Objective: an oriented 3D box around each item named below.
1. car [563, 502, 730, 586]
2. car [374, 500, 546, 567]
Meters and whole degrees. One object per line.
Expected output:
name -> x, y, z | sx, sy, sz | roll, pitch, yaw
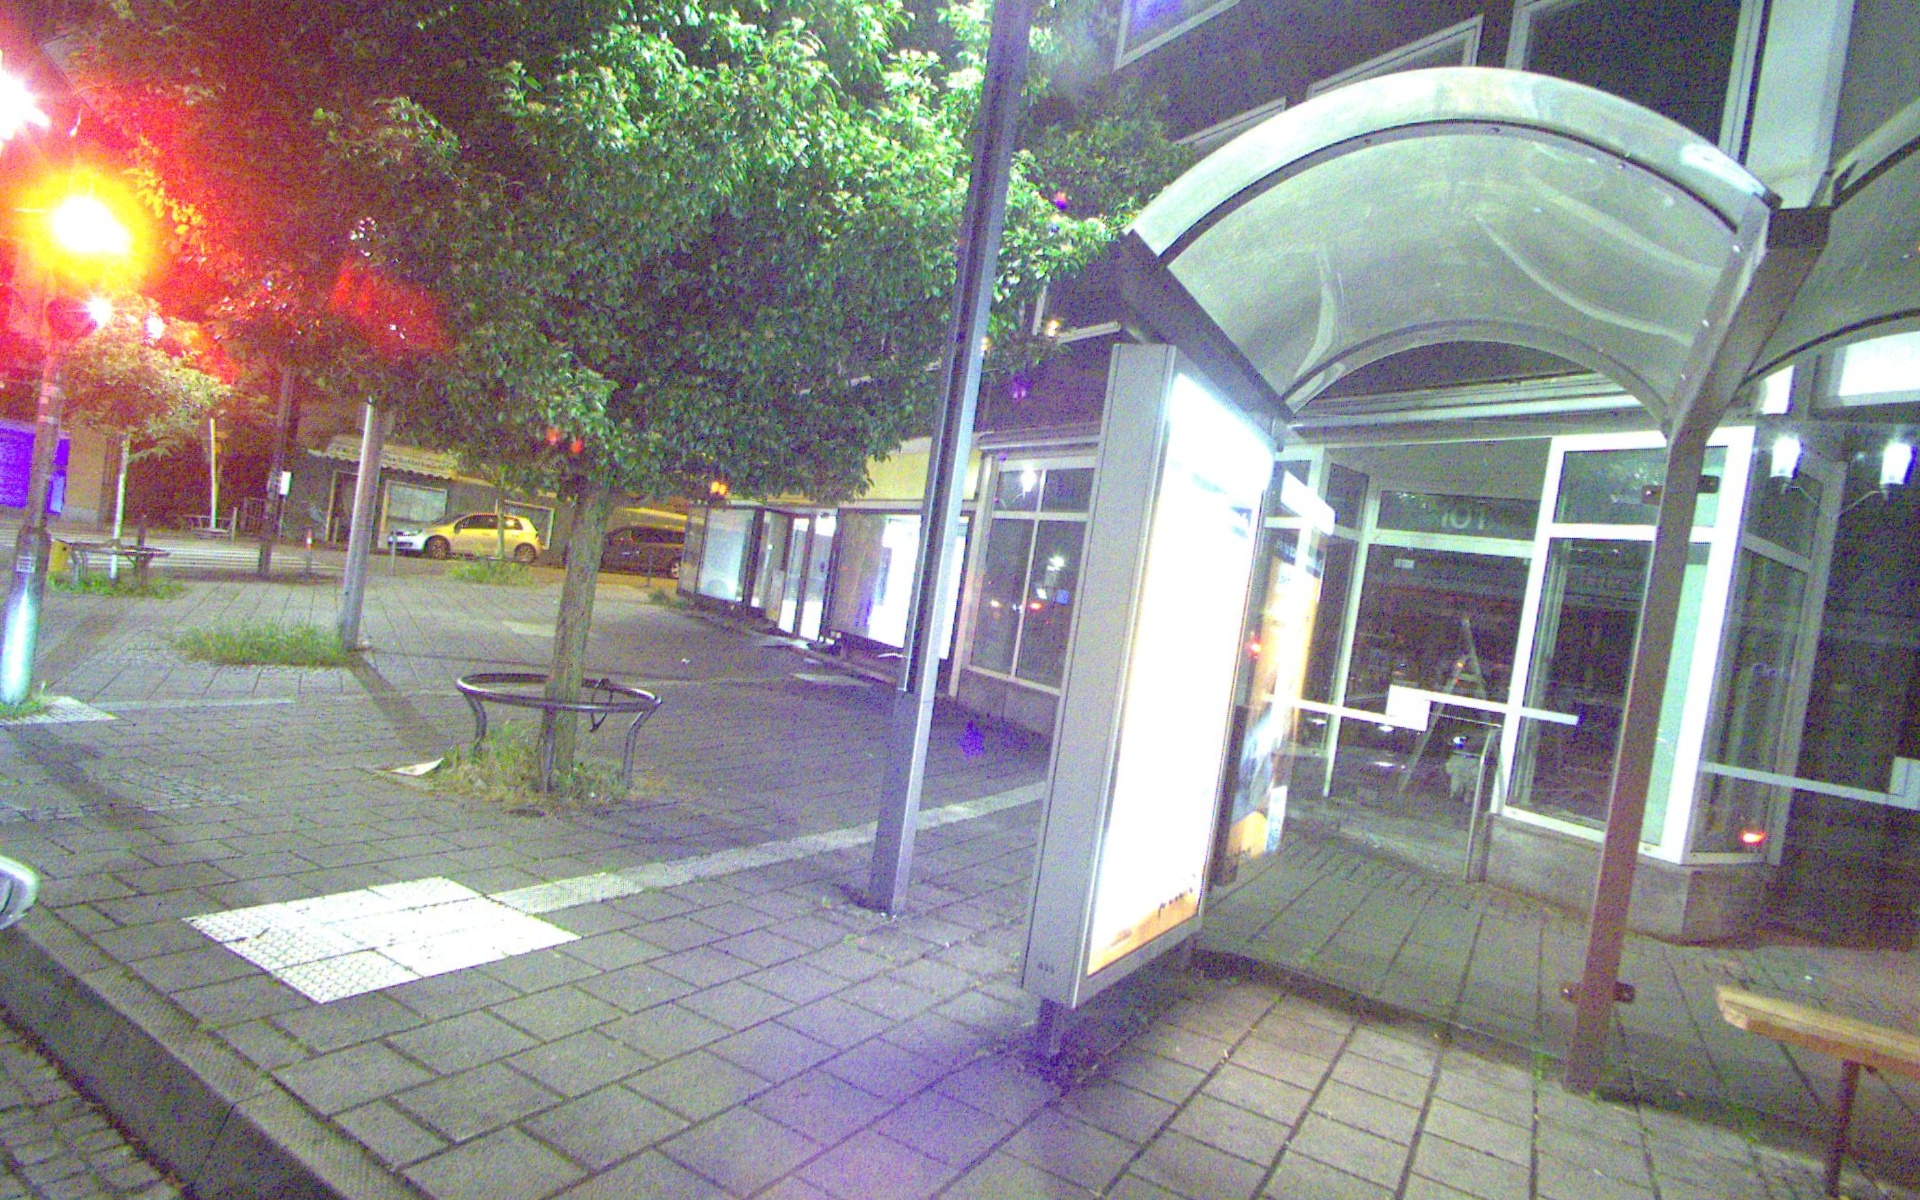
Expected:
car -> -10.122, -1.717, 32.462 | 4.783, 1.932, 2.148 | 8, -2, -23
car -> -14.474, -1.898, 29.293 | 1.798, 1.472, 4.036 | 8, 3, 38
